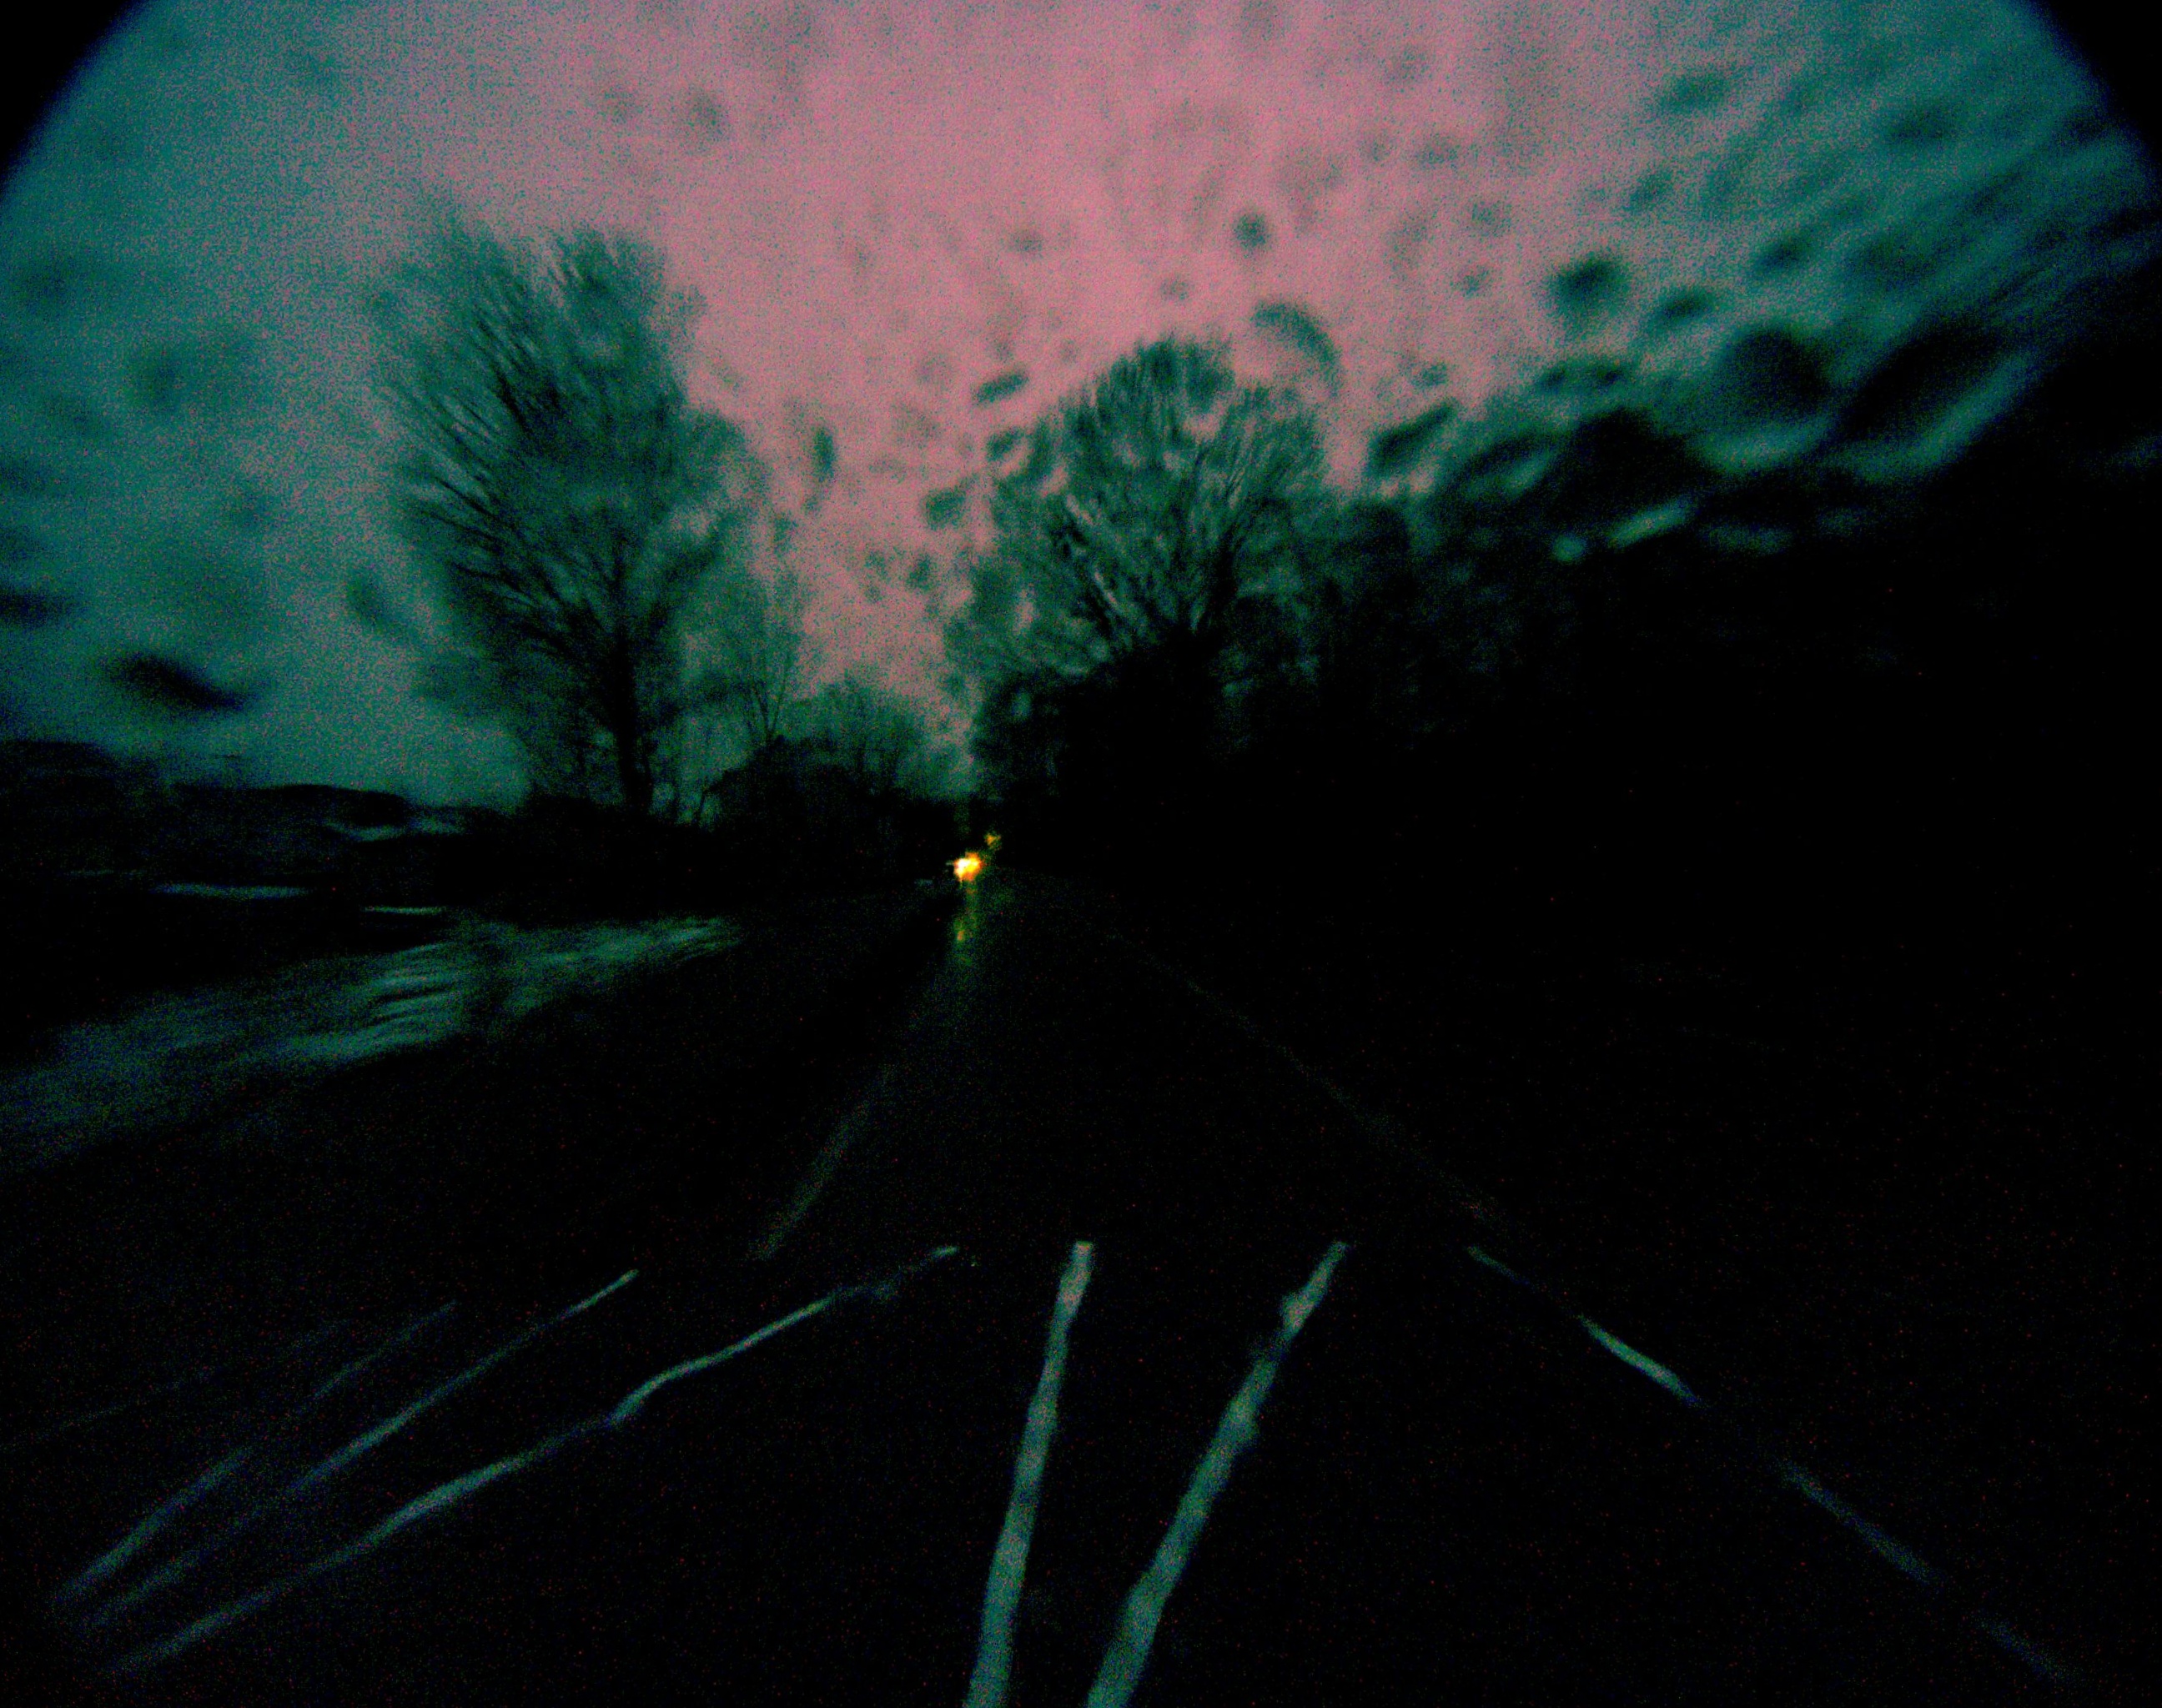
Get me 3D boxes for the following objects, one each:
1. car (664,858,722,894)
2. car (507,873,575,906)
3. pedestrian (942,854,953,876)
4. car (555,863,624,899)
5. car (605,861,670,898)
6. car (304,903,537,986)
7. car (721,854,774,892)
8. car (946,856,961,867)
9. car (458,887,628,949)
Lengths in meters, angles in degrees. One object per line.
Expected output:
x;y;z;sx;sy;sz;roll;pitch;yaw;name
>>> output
-20.417;1.127;40.136;1.643;1.465;3.733;-2;4;-9;car
-27.681;1.807;39.059;1.473;1.271;3.394;-2;4;-9;car
-10.287;0.824;58.609;0.746;1.645;0.969;-2;1;-11;pedestrian
-25.877;1.397;40.165;1.643;1.465;3.733;-2;4;-9;car
-23.052;1.291;39.677;1.643;1.465;3.733;-2;4;-9;car
-15.694;2.110;18.280;3.795;1.587;1.802;-2;0;-12;car
-17.842;0.962;40.803;1.643;1.674;3.733;-2;4;-9;car
-19.316;1.073;114.732;1.710;1.497;4.019;-3;1;-16;car
-16.343;1.910;23.294;3.795;1.587;1.802;-2;0;-12;car
